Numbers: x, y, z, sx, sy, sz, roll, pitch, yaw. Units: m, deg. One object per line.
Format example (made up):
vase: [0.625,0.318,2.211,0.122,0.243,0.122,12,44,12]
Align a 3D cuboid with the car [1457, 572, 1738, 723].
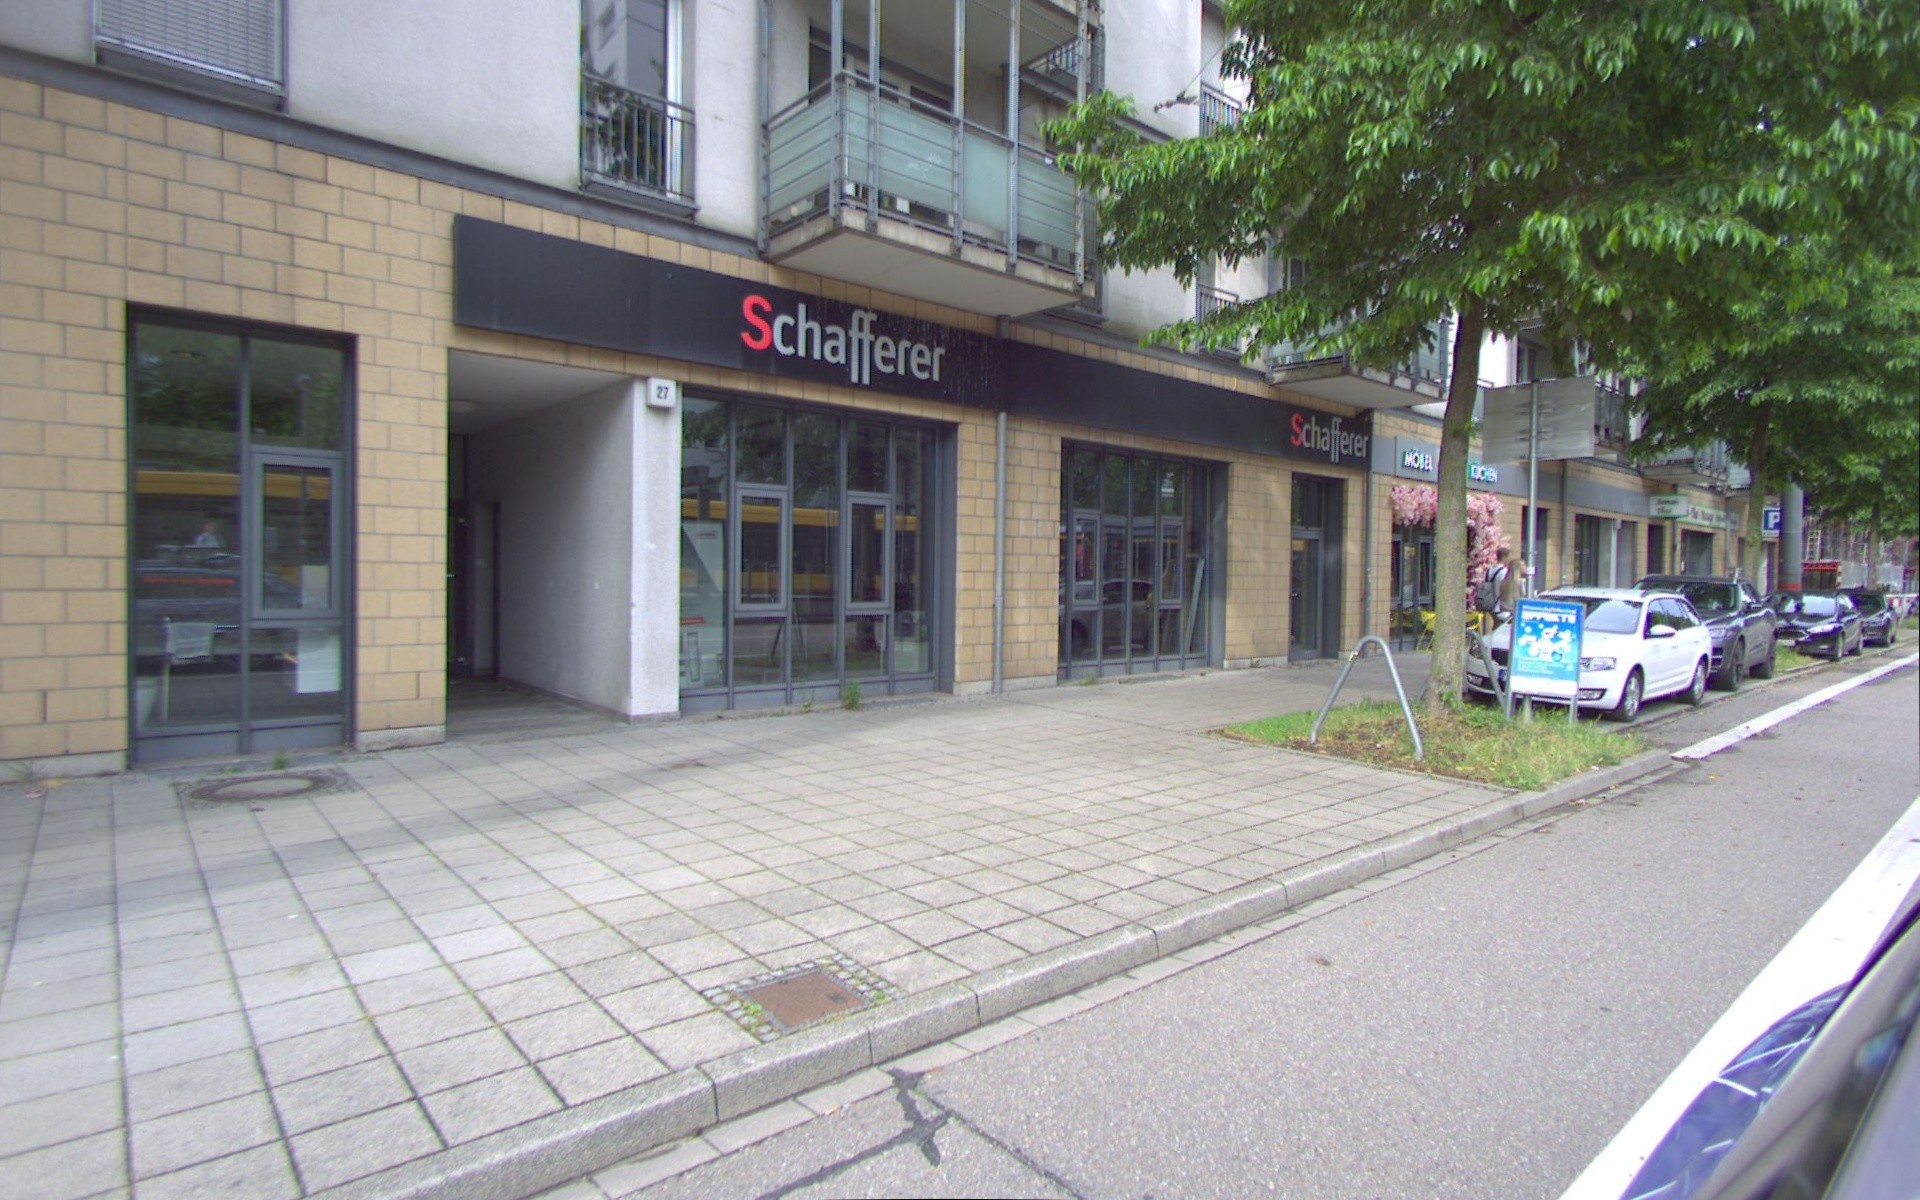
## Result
car: [8.120,0.462,12.738,4.312,1.517,1.681,-1,4,-40]

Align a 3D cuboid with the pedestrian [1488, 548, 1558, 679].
pedestrian: [8.105,0.171,14.581,0.724,1.828,0.617,0,2,-39]

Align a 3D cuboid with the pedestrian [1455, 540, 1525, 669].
pedestrian: [8.111,0.054,15.495,0.724,1.914,0.677,0,2,-39]

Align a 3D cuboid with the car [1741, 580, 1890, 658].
car: [18.711,0.331,22.078,4.329,1.459,1.681,-1,4,-40]

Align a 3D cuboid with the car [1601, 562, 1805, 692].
car: [12.067,0.319,16.313,4.632,1.737,1.715,-1,5,-42]

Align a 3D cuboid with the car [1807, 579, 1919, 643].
car: [24.299,0.229,27.186,4.315,1.472,1.800,-1,5,-43]
